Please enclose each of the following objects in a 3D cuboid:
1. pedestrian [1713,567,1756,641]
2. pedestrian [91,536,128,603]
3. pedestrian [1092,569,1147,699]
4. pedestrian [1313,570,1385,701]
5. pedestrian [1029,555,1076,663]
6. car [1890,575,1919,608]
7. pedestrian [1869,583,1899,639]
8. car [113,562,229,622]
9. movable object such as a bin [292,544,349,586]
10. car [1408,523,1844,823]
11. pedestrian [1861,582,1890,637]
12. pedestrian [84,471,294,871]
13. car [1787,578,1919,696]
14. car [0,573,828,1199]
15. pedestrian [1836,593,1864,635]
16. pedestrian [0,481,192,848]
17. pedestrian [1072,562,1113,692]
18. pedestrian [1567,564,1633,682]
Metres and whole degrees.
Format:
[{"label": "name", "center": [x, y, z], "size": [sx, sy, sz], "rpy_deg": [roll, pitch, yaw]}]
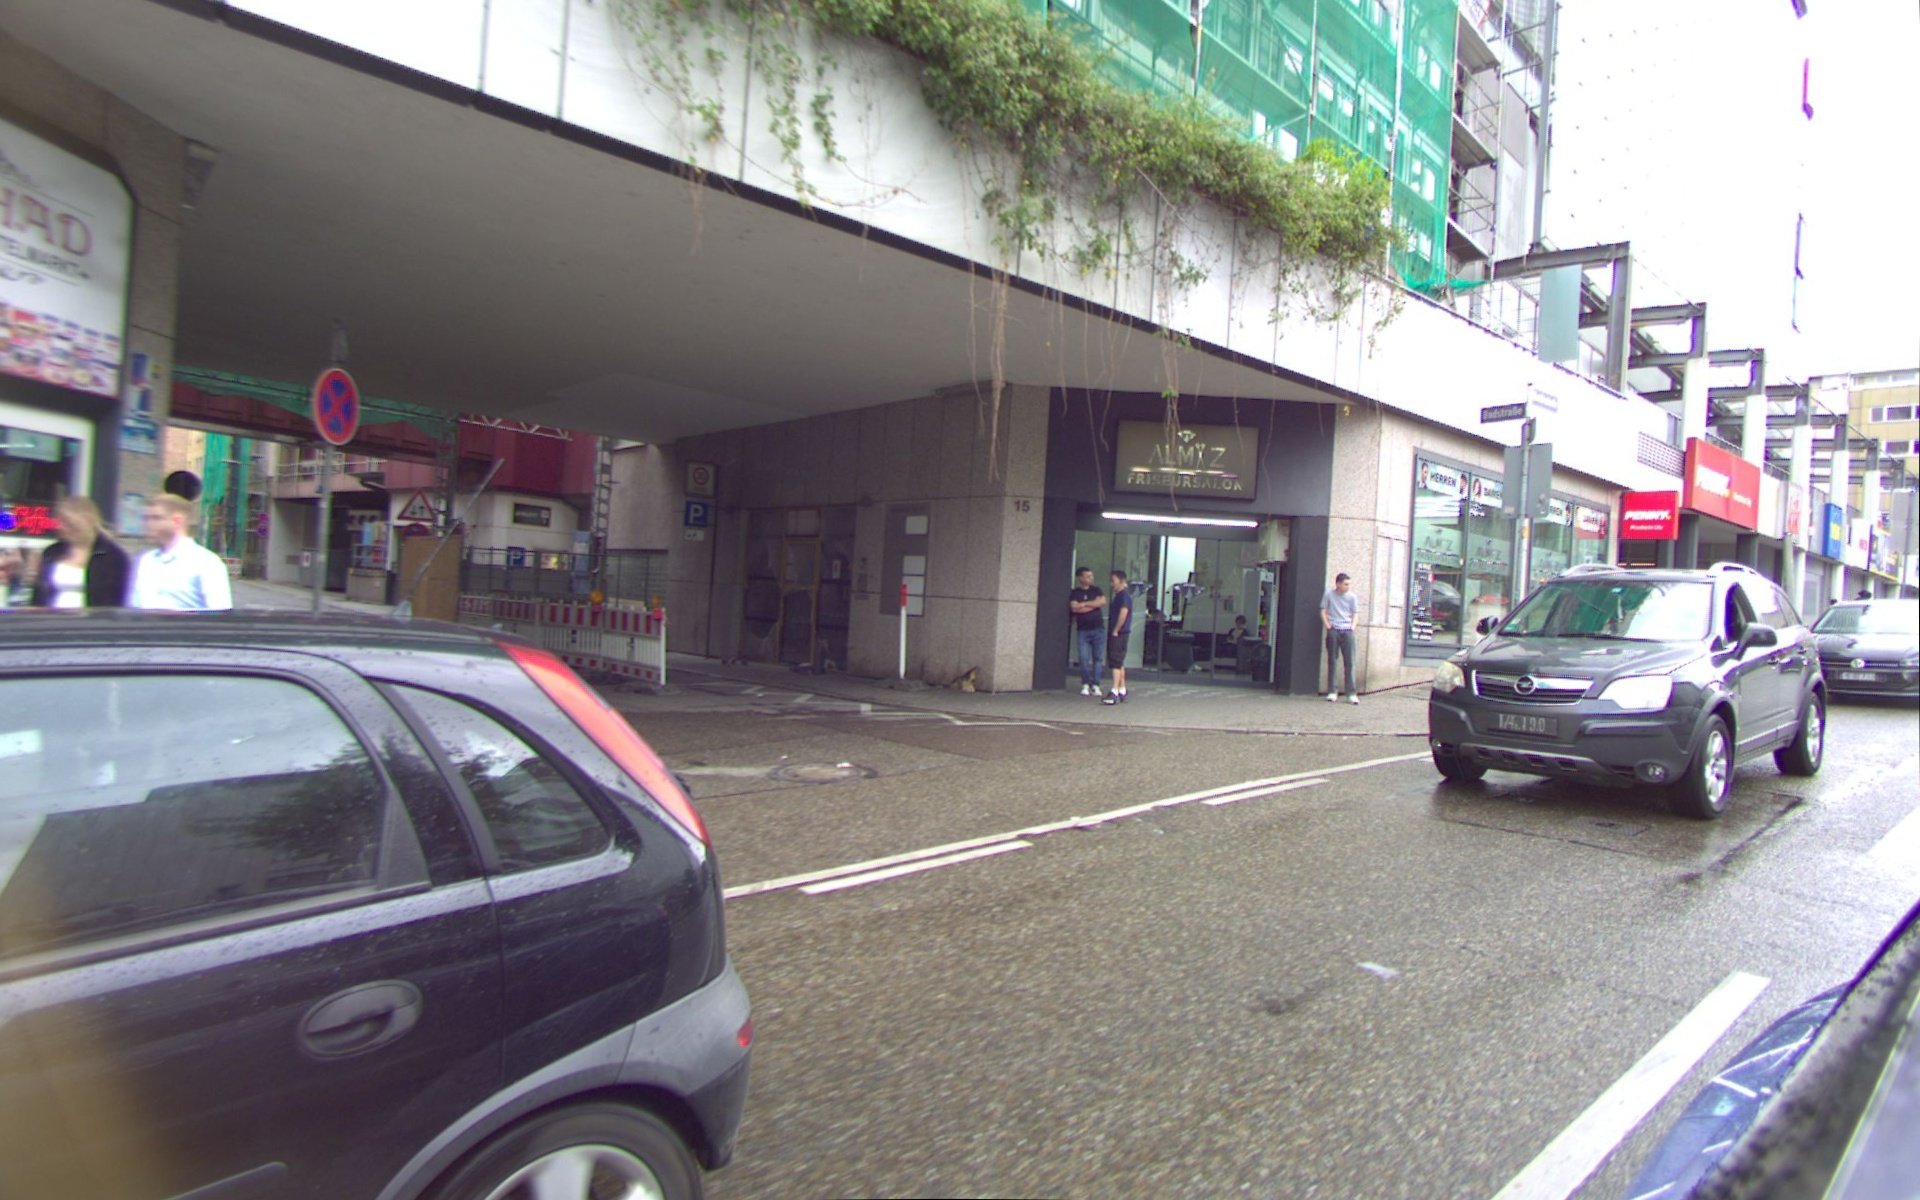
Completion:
[{"label": "pedestrian", "center": [18.071, 0.077, 23.616], "size": [0.499, 1.699, 0.581], "rpy_deg": [0, 2, -20]}, {"label": "pedestrian", "center": [-22.024, -0.786, 26.200], "size": [0.697, 1.701, 0.749], "rpy_deg": [-1, 1, -42]}, {"label": "pedestrian", "center": [2.046, 0.420, 12.943], "size": [0.630, 1.615, 0.574], "rpy_deg": [0, 0, 17]}, {"label": "pedestrian", "center": [5.110, 0.438, 13.297], "size": [0.722, 1.663, 0.637], "rpy_deg": [-1, 1, -44]}, {"label": "pedestrian", "center": [1.610, 0.139, 17.716], "size": [0.730, 1.838, 0.773], "rpy_deg": [2, 2, 3]}, {"label": "car", "center": [62.370, -0.499, 64.159], "size": [4.535, 2.038, 1.986], "rpy_deg": [2, 2, 22]}, {"label": "pedestrian", "center": [25.856, 0.295, 28.314], "size": [0.570, 1.519, 0.509], "rpy_deg": [-1, 3, -42]}, {"label": "car", "center": [-18.500, -0.200, 23.672], "size": [1.788, 1.276, 4.053], "rpy_deg": [-1, 1, -43]}, {"label": "movable object such as a bin", "center": [-33.405, -1.795, 52.811], "size": [3.822, 2.117, 1.462], "rpy_deg": [0, 1, 40]}, {"label": "car", "center": [5.411, 0.456, 8.018], "size": [4.088, 1.788, 1.764], "rpy_deg": [1, -1, -39]}, {"label": "pedestrian", "center": [26.319, 0.265, 29.101], "size": [0.570, 1.519, 0.509], "rpy_deg": [-1, 3, -42]}, {"label": "pedestrian", "center": [-4.111, 0.345, 5.410], "size": [0.731, 1.959, 0.634], "rpy_deg": [0, 0, 28]}, {"label": "car", "center": [13.686, 0.501, 14.764], "size": [4.088, 1.523, 1.758], "rpy_deg": [1, -1, -39]}, {"label": "car", "center": [-2.145, 0.676, 1.504], "size": [3.558, 1.447, 1.610], "rpy_deg": [1, -1, -40]}, {"label": "pedestrian", "center": [25.911, 0.391, 29.465], "size": [0.570, 1.181, 0.509], "rpy_deg": [-1, 3, -42]}, {"label": "pedestrian", "center": [-5.005, 0.339, 5.815], "size": [0.729, 1.959, 0.636], "rpy_deg": [0, 0, 19]}, {"label": "pedestrian", "center": [1.794, 0.353, 13.720], "size": [0.474, 1.729, 0.467], "rpy_deg": [0, 0, 0]}, {"label": "pedestrian", "center": [9.262, 0.304, 14.655], "size": [0.674, 1.647, 0.571], "rpy_deg": [3, 3, 43]}]
